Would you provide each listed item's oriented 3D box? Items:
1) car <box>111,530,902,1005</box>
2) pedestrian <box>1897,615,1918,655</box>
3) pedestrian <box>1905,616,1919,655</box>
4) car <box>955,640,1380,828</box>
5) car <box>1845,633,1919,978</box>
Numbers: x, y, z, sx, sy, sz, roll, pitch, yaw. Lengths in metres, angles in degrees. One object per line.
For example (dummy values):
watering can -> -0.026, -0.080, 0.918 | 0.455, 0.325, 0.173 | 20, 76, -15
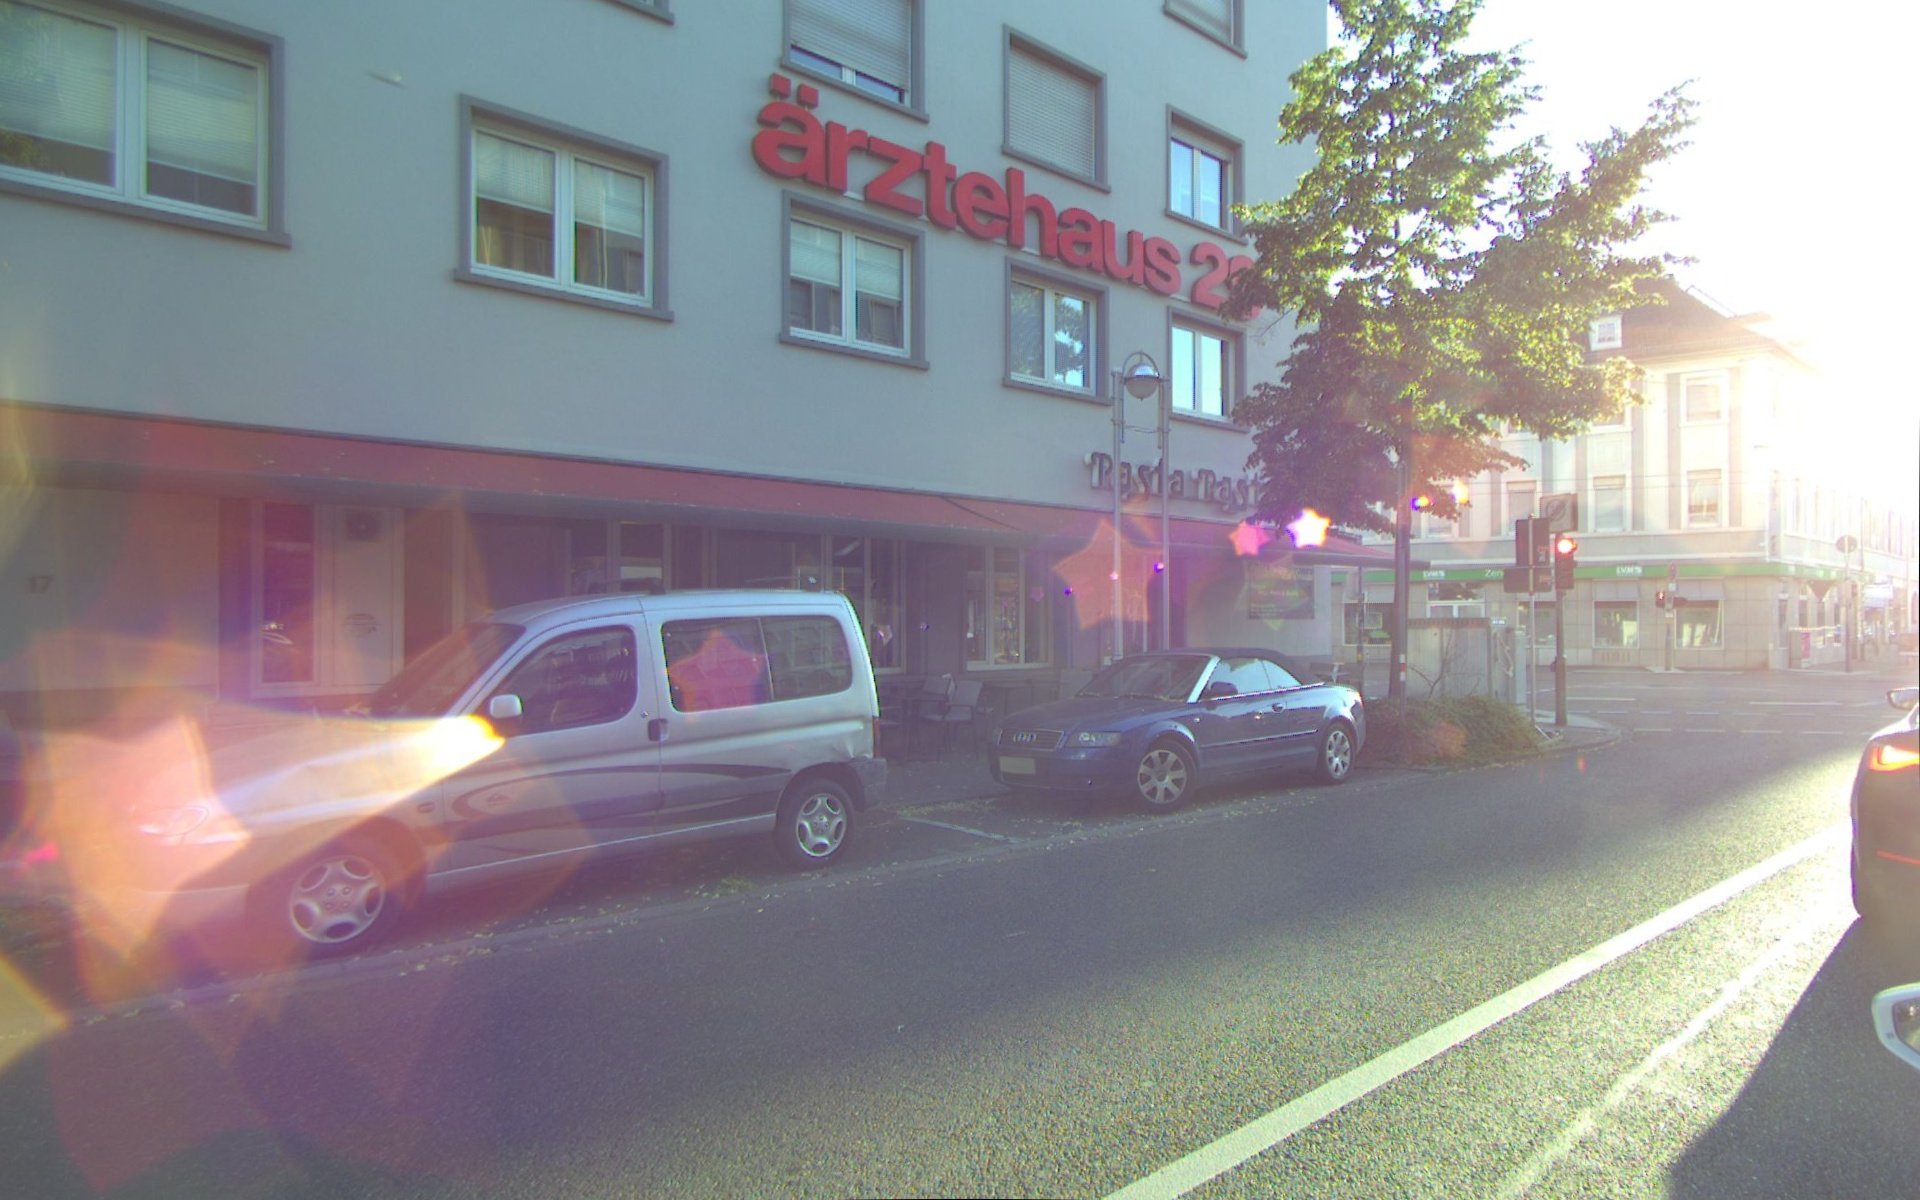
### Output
car -> -2.441, 0.757, 6.028 | 4.022, 1.912, 1.655 | 2, -4, -41
pedestrian -> 46.574, 1.721, 49.366 | 0.626, 1.901, 0.638 | 1, 0, -38
pedestrian -> 47.300, 1.738, 49.781 | 0.673, 1.901, 0.610 | 1, 0, -42
car -> 2.133, 1.122, 9.694 | 4.244, 1.434, 1.710 | 2, -4, -39
car -> 6.075, 0.912, 5.107 | 4.188, 1.447, 1.723 | 1, -1, -39
